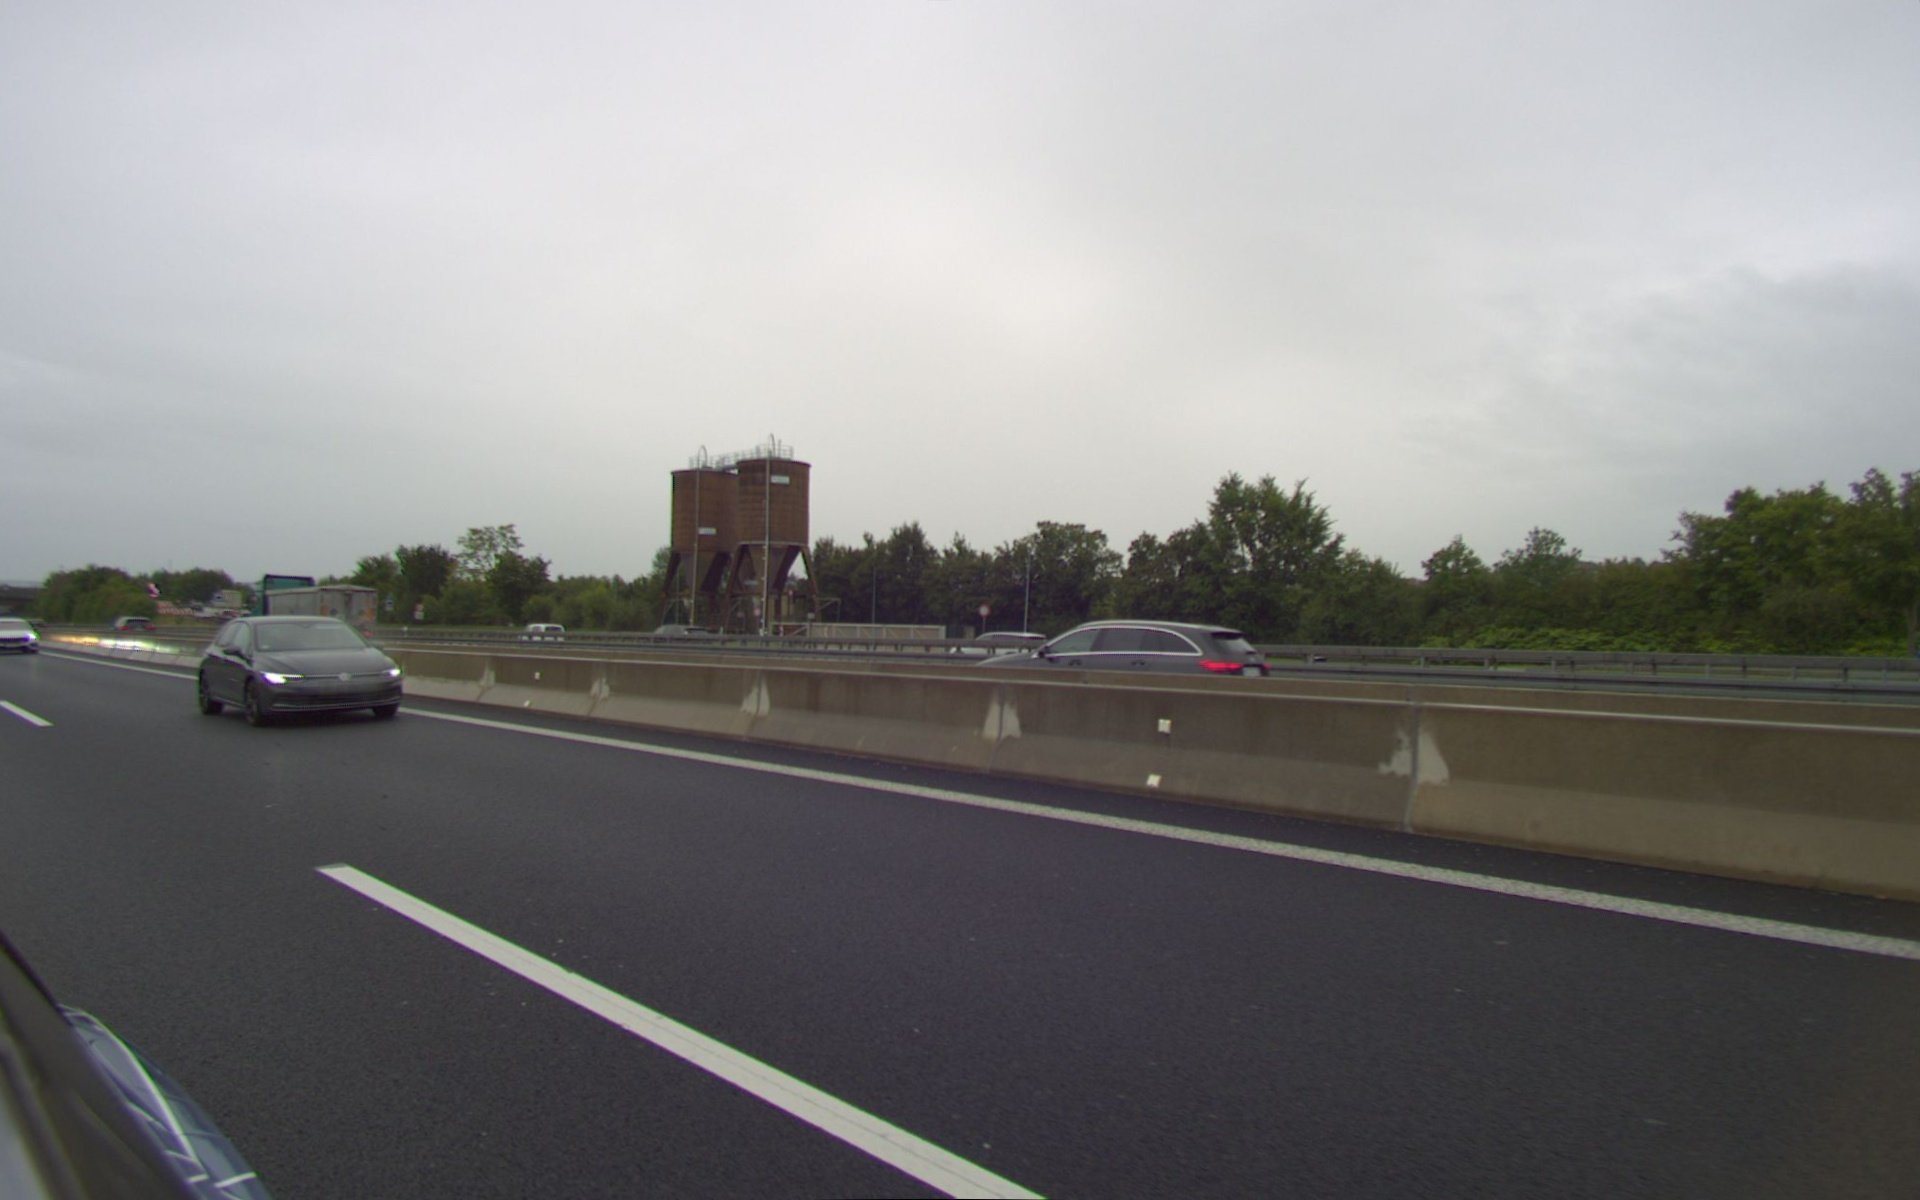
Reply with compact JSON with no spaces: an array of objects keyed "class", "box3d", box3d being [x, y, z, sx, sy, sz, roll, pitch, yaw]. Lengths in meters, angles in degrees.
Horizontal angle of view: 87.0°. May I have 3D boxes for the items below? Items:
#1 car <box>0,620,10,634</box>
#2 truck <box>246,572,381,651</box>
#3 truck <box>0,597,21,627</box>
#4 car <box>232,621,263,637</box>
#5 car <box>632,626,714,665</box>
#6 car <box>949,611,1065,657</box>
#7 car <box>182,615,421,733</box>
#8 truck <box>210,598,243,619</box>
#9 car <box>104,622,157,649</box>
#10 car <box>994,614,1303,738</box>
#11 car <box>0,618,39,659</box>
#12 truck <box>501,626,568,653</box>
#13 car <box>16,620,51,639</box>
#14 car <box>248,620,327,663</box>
[{"class":"car","box3d":[-113.238,3.179,118.879,3.996,1.671,1.887,-1,-1,40]},{"class":"truck","box3d":[-33.874,0.573,52.723,11.908,3.738,2.937,-1,0,43]},{"class":"truck","box3d":[-147.745,1.916,155.353,12.882,4.511,3.739,-1,-1,40]},{"class":"car","box3d":[-89.184,3.602,126.624,4.547,2.029,2.049,-1,-2,40]},{"class":"car","box3d":[-14.587,2.260,51.305,4.459,1.822,1.883,-1,-1,41]},{"class":"car","box3d":[1.862,1.376,41.203,4.503,1.775,1.972,-1,-2,42]},{"class":"car","box3d":[-9.680,0.966,14.741,4.365,1.436,1.811,-1,-1,41]},{"class":"truck","box3d":[-118.427,1.356,163.333,3.208,3.240,7.608,0,-1,-44]},{"class":"car","box3d":[-51.580,2.210,62.925,3.996,1.644,1.762,-1,-2,39]},{"class":"car","box3d":[2.577,0.981,14.386,3.998,1.519,1.779,-1,-2,41]},{"class":"car","box3d":[-39.603,1.571,41.764,4.816,1.603,1.972,-1,-1,43]},{"class":"truck","box3d":[-29.215,2.674,69.385,5.401,1.657,1.973,-1,0,40]},{"class":"car","box3d":[-86.886,2.771,94.881,3.996,1.671,1.887,-1,-1,40]},{"class":"car","box3d":[-27.028,1.622,40.627,3.998,1.608,1.695,-1,-1,41]}]
